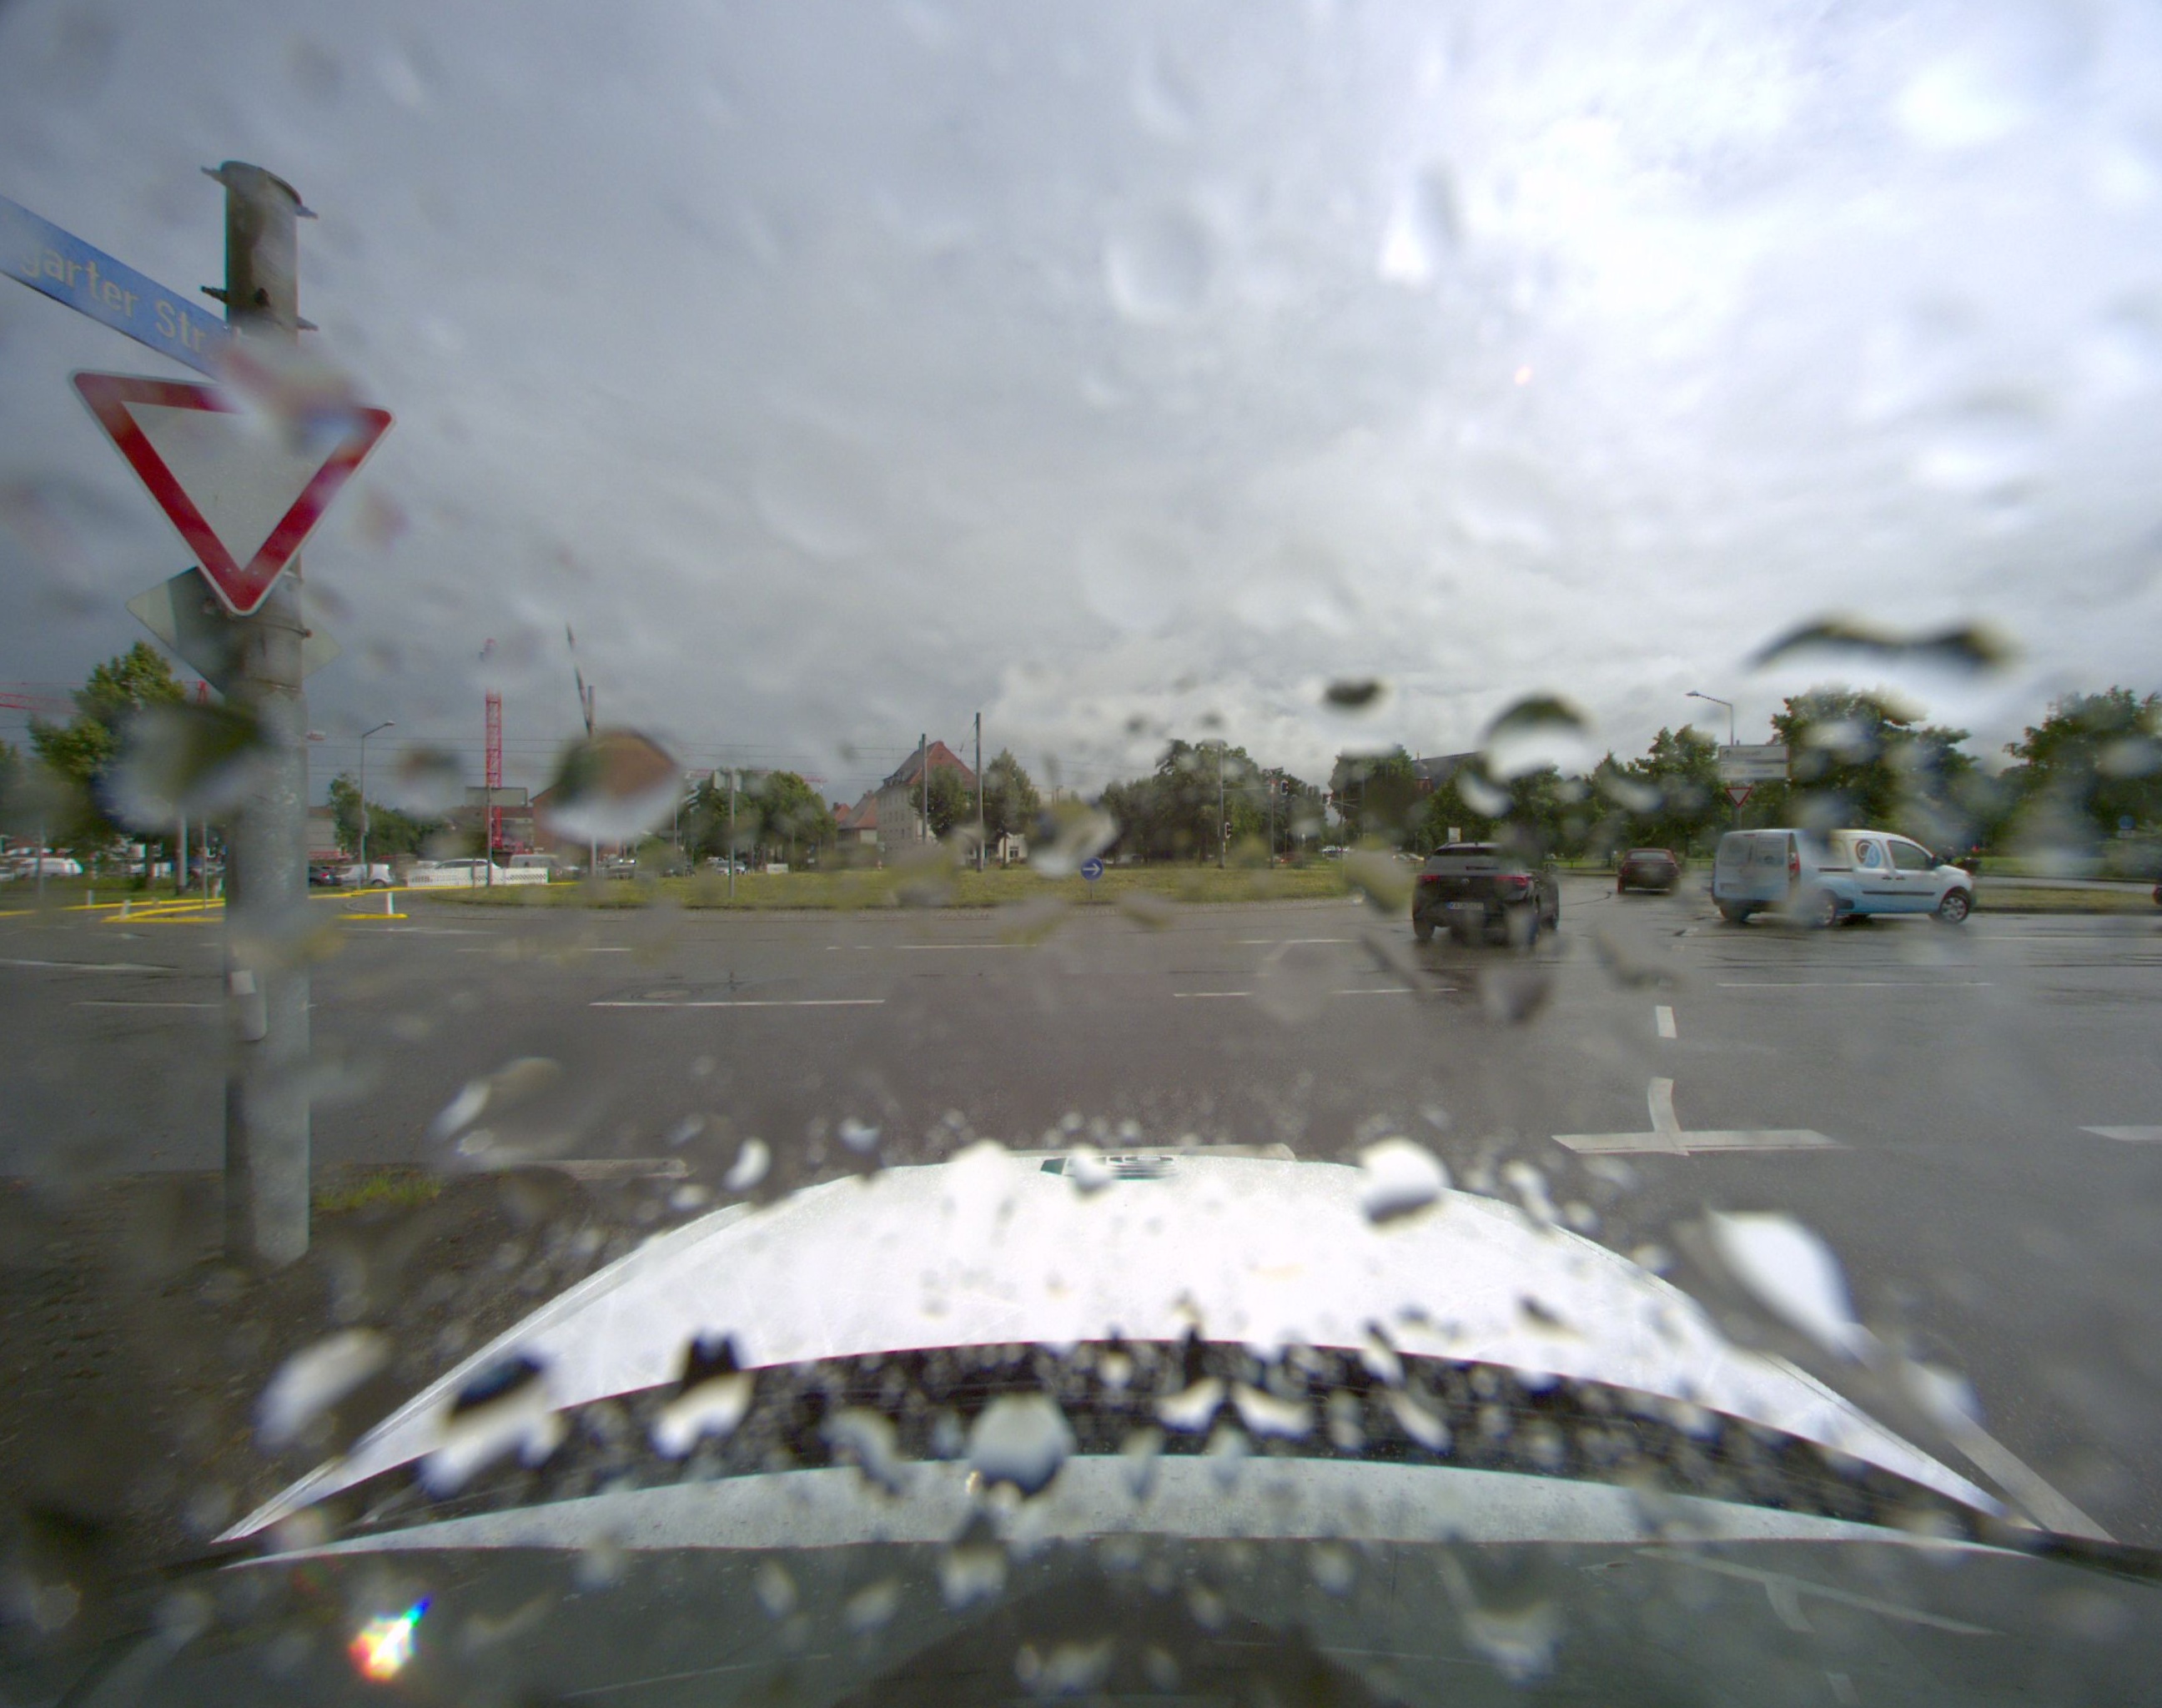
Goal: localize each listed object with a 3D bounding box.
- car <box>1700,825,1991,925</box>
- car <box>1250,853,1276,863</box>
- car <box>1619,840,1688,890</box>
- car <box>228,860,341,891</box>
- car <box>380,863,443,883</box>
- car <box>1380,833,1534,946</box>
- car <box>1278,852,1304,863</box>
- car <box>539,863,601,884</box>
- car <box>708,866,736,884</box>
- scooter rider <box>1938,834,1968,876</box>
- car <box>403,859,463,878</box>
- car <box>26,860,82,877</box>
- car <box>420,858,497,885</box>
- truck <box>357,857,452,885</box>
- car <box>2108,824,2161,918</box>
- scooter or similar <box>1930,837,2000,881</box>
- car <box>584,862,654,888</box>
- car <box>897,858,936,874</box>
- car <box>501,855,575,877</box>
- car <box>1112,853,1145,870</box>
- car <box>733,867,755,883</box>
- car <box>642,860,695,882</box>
[{"bbox_3d":[14.758,0.352,15.800,4.539,1.762,1.860,0,0,-12],"label":"car"},{"bbox_3d":[25.071,0.549,112.125,1.647,1.462,3.582,0,0,-24],"label":"car"},{"bbox_3d":[18.386,0.295,26.237,1.698,1.462,4.026,-1,1,34],"label":"car"},{"bbox_3d":[-42.579,1.093,43.640,4.014,1.517,1.785,-1,0,-32],"label":"car"},{"bbox_3d":[-60.800,1.708,73.992,3.984,1.700,1.852,1,-1,-8],"label":"car"},{"bbox_3d":[6.535,0.503,13.891,1.879,1.617,4.025,-1,0,32],"label":"car"},{"bbox_3d":[29.513,0.538,114.586,1.651,1.510,3.623,-1,0,-22],"label":"car"},{"bbox_3d":[-43.662,1.630,69.687,1.975,1.684,4.023,0,0,26],"label":"car"},{"bbox_3d":[-31.684,1.842,71.919,1.546,1.560,3.486,0,0,-12],"label":"car"},{"bbox_3d":[42.808,0.067,39.984,0.698,2.014,0.774,1,-1,20],"label":"scooter rider"},{"bbox_3d":[-61.076,1.377,76.812,3.978,1.700,1.927,1,-1,-4],"label":"car"},{"bbox_3d":[-109.673,1.520,86.956,3.588,1.722,1.495,-1,0,-10],"label":"car"},{"bbox_3d":[-36.532,1.016,47.845,3.517,1.510,1.483,0,0,-38],"label":"car"},{"bbox_3d":[-57.914,1.445,69.801,6.059,2.212,2.398,1,-1,1],"label":"truck"},{"bbox_3d":[22.165,0.283,14.664,4.280,1.757,2.049,-1,1,11],"label":"car"},{"bbox_3d":[42.775,0.255,39.477,1.224,2.014,3.429,1,-1,28],"label":"scooter or similar"},{"bbox_3d":[-30.569,1.367,53.935,1.554,1.560,3.701,0,0,37],"label":"car"},{"bbox_3d":[-16.045,1.158,79.394,3.456,1.454,1.559,-1,0,26],"label":"car"},{"bbox_3d":[-55.766,1.270,83.743,6.219,2.085,2.044,1,-1,3],"label":"car"},{"bbox_3d":[5.938,0.906,103.195,2.116,2.057,5.122,-1,1,-23],"label":"car"},{"bbox_3d":[-34.992,2.188,84.576,1.597,1.560,3.532,0,0,-15],"label":"car"},{"bbox_3d":[-31.706,1.278,62.726,1.783,1.585,4.007,0,0,6],"label":"car"}]
